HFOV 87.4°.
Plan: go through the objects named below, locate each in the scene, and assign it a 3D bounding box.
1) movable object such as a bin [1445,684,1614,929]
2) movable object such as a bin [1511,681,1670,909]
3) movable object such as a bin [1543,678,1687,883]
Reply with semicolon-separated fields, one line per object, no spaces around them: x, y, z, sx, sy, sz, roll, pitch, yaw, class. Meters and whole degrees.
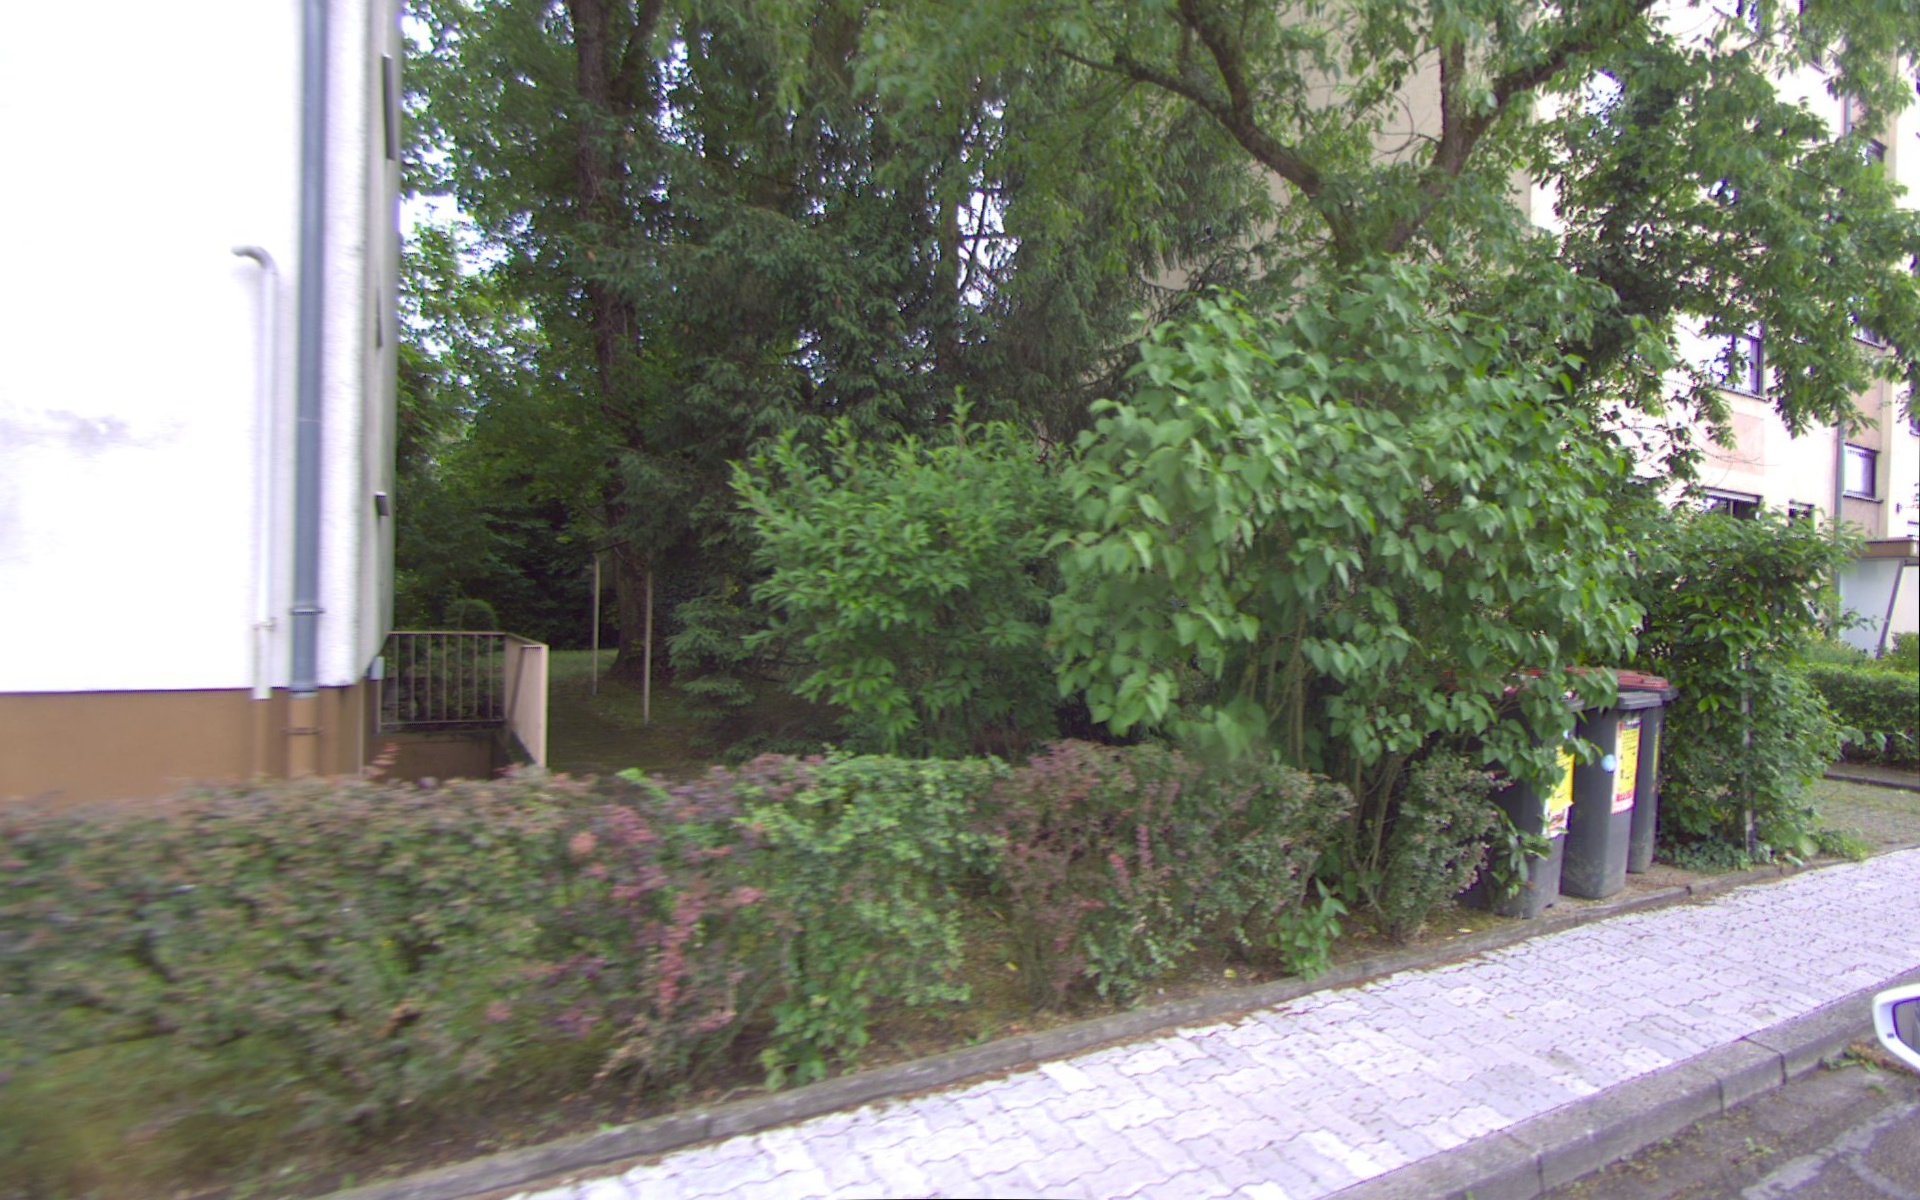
2.713;0.934;4.788;0.588;1.035;0.535;-2;-3;41;movable object such as a bin
3.211;0.947;5.118;0.588;1.035;0.535;-2;-3;41;movable object such as a bin
3.669;0.967;5.624;0.588;1.035;0.535;-2;-3;41;movable object such as a bin
